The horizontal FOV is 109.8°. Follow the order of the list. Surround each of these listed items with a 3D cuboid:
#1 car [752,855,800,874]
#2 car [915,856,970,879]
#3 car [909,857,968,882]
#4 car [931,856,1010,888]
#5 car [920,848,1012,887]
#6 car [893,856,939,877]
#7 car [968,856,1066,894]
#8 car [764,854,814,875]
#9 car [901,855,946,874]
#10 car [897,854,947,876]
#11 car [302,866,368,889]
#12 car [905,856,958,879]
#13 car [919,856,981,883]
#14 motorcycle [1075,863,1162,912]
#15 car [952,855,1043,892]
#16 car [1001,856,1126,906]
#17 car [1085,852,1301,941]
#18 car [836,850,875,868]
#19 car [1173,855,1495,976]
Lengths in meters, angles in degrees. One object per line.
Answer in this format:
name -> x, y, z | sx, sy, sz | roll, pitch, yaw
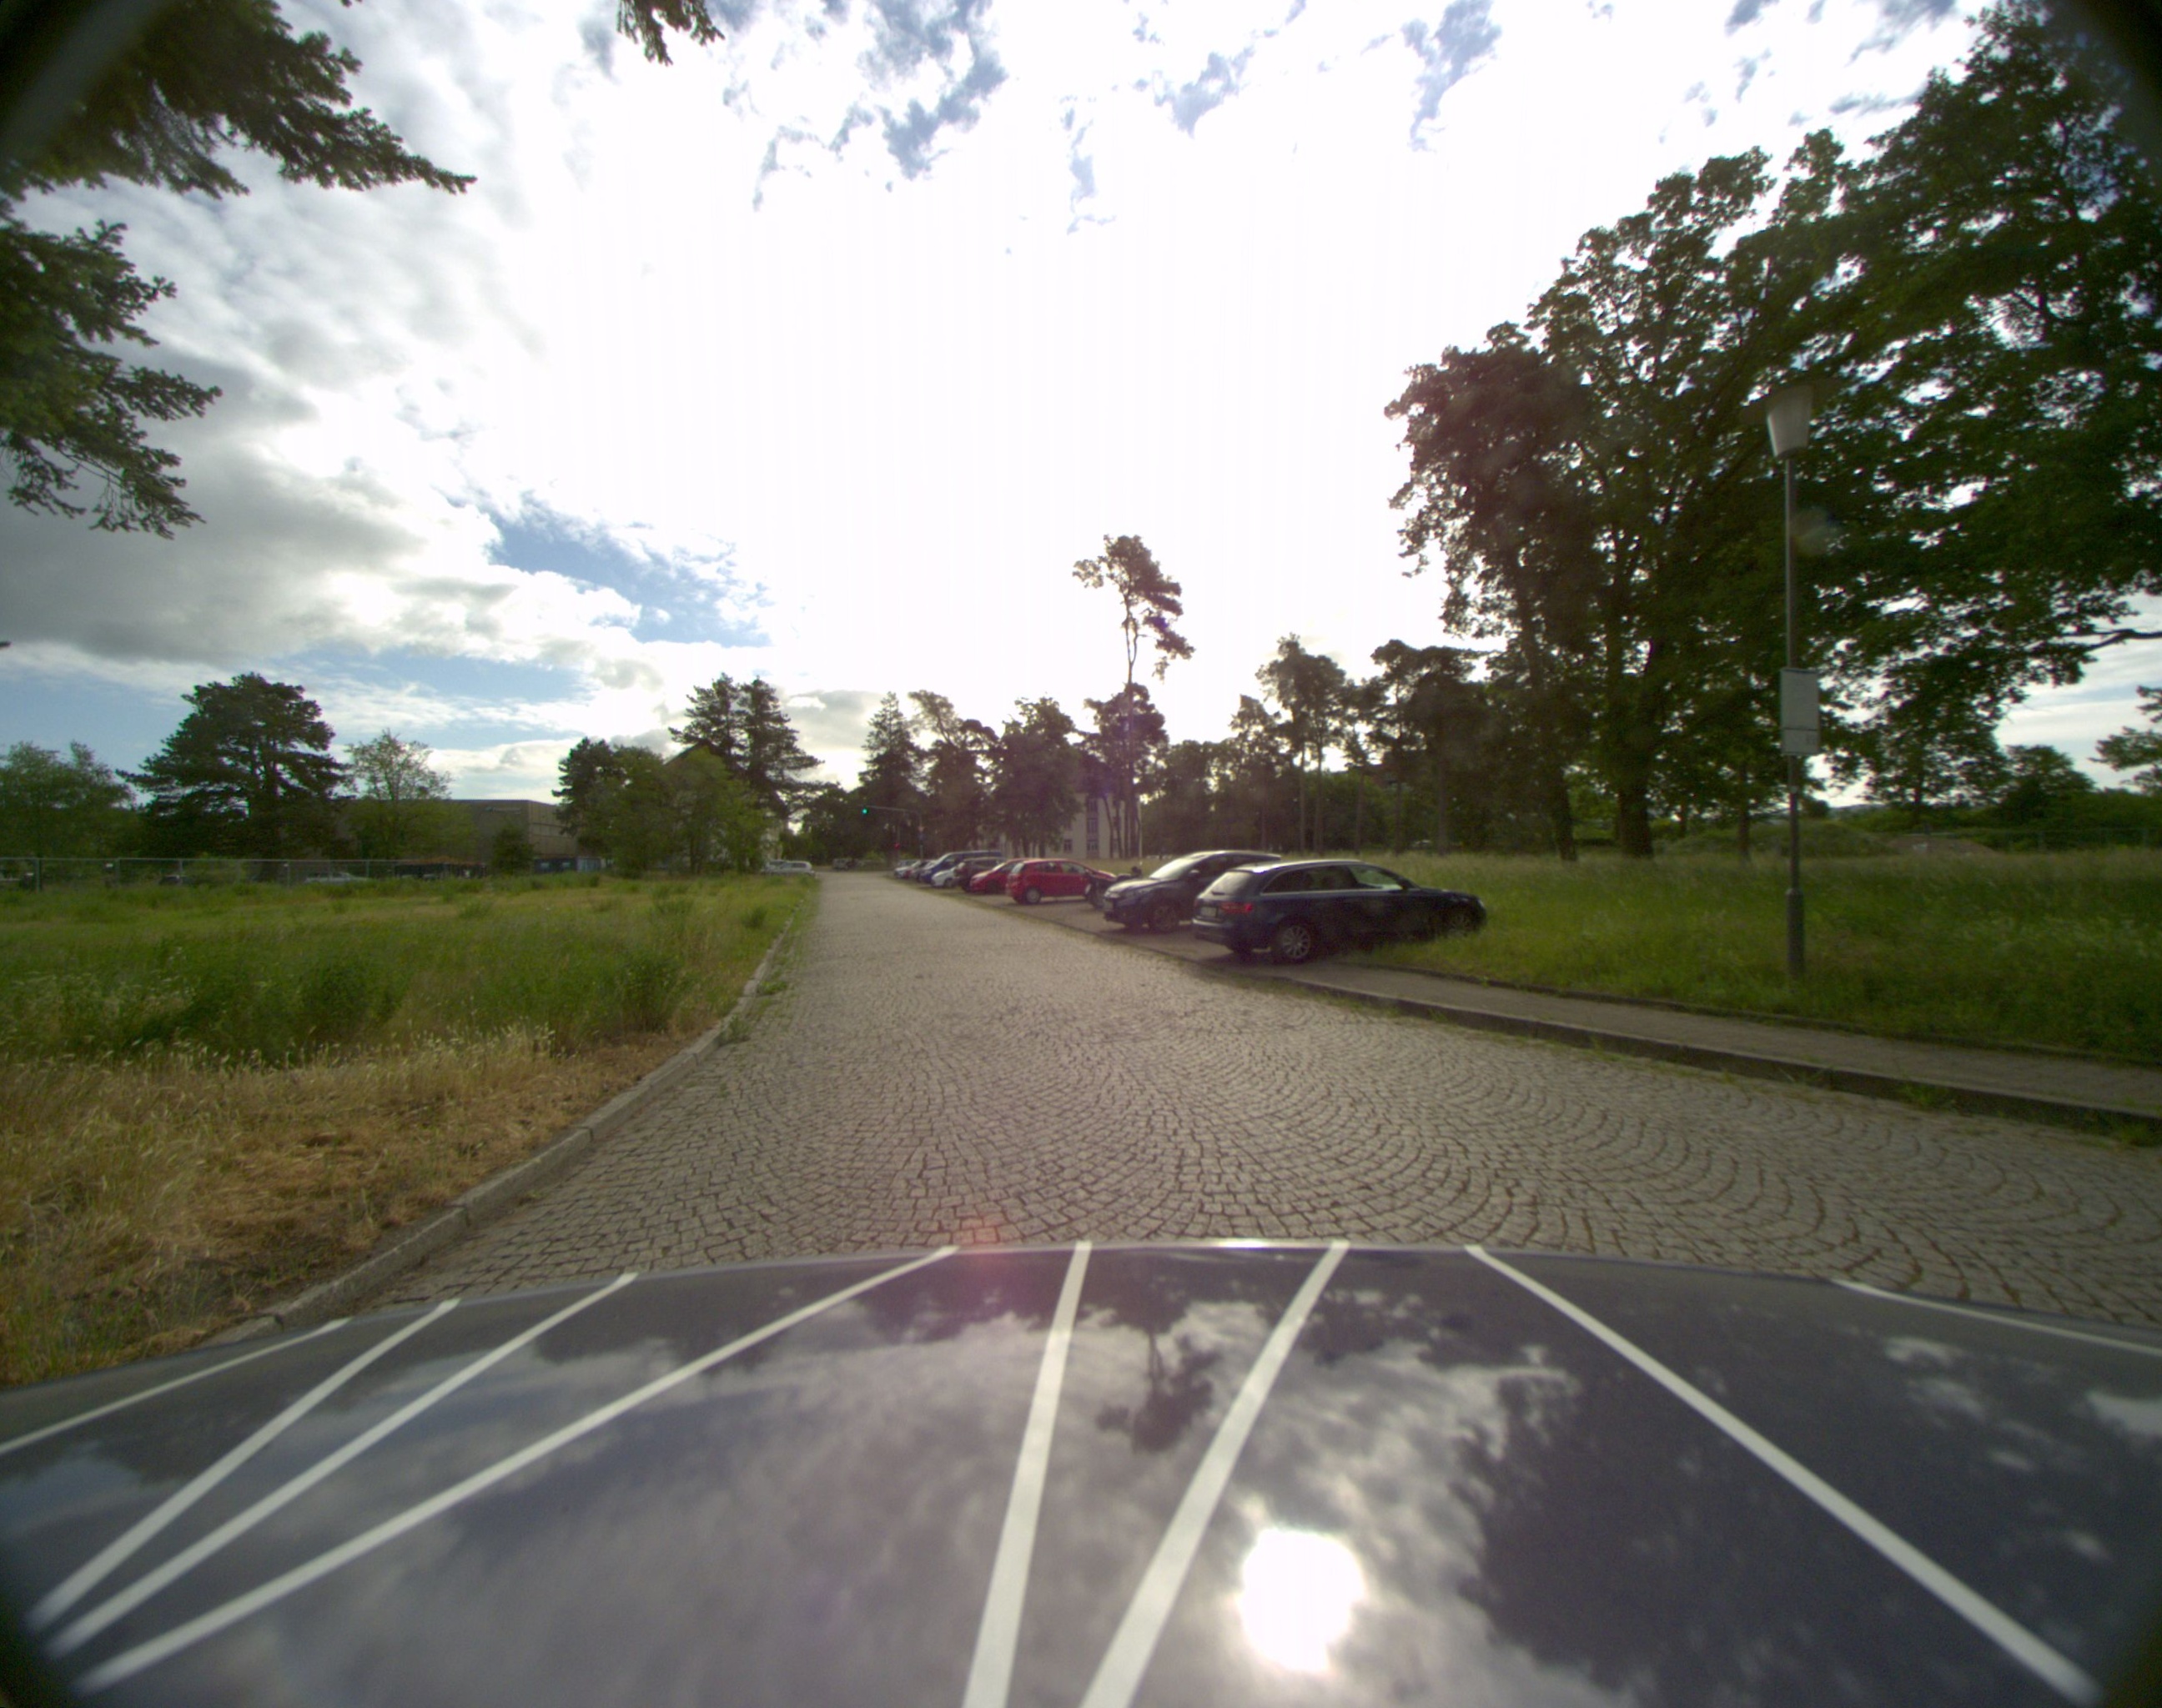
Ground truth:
car -> -26.915, 0.900, 67.054 | 3.736, 1.430, 1.623 | -4, 2, -26
car -> -10.062, 0.961, 55.174 | 3.577, 1.426, 1.603 | -5, 2, -25
car -> -9.740, 1.018, 51.912 | 3.605, 1.413, 1.615 | -4, 2, -25
car -> -6.080, 0.975, 41.725 | 3.935, 1.385, 1.739 | -4, 2, -20
car -> -6.720, 0.713, 44.284 | 4.840, 1.855, 2.157 | -4, 2, -20
car -> -13.924, 1.012, 64.100 | 3.576, 1.450, 1.623 | -4, 2, -21
car -> -2.802, 0.896, 33.265 | 3.957, 1.511, 1.705 | -2, 0, -18
car -> -23.992, 0.865, 62.441 | 3.735, 1.430, 1.623 | -4, 2, -22
car -> -13.872, 0.896, 66.894 | 3.459, 1.424, 1.624 | -5, 2, -28
car -> -12.870, 0.897, 61.493 | 3.577, 1.479, 1.599 | -5, 2, -26
car -> -65.614, 2.033, 66.888 | 1.995, 1.892, 3.778 | -2, -1, 31
car -> -11.280, 0.980, 57.339 | 3.577, 1.409, 1.635 | -5, 2, -25
car -> -8.549, 0.955, 49.636 | 3.604, 1.446, 1.684 | -5, 2, -25
motorcycle -> 1.081, 0.940, 21.911 | 2.365, 1.280, 0.742 | -2, 1, -18
car -> -3.930, 0.900, 35.754 | 3.922, 1.594, 1.818 | -1, 0, -21
car -> -0.606, 0.885, 25.983 | 3.899, 1.470, 1.669 | -2, 1, -19
car -> 2.360, 0.808, 16.103 | 4.155, 1.564, 1.787 | -2, 2, -19
car -> -38.341, 0.867, 129.264 | 5.805, 2.548, 2.764 | -4, 2, -24
car -> 3.812, 0.832, 11.588 | 4.448, 1.471, 1.680 | -2, 1, -15
